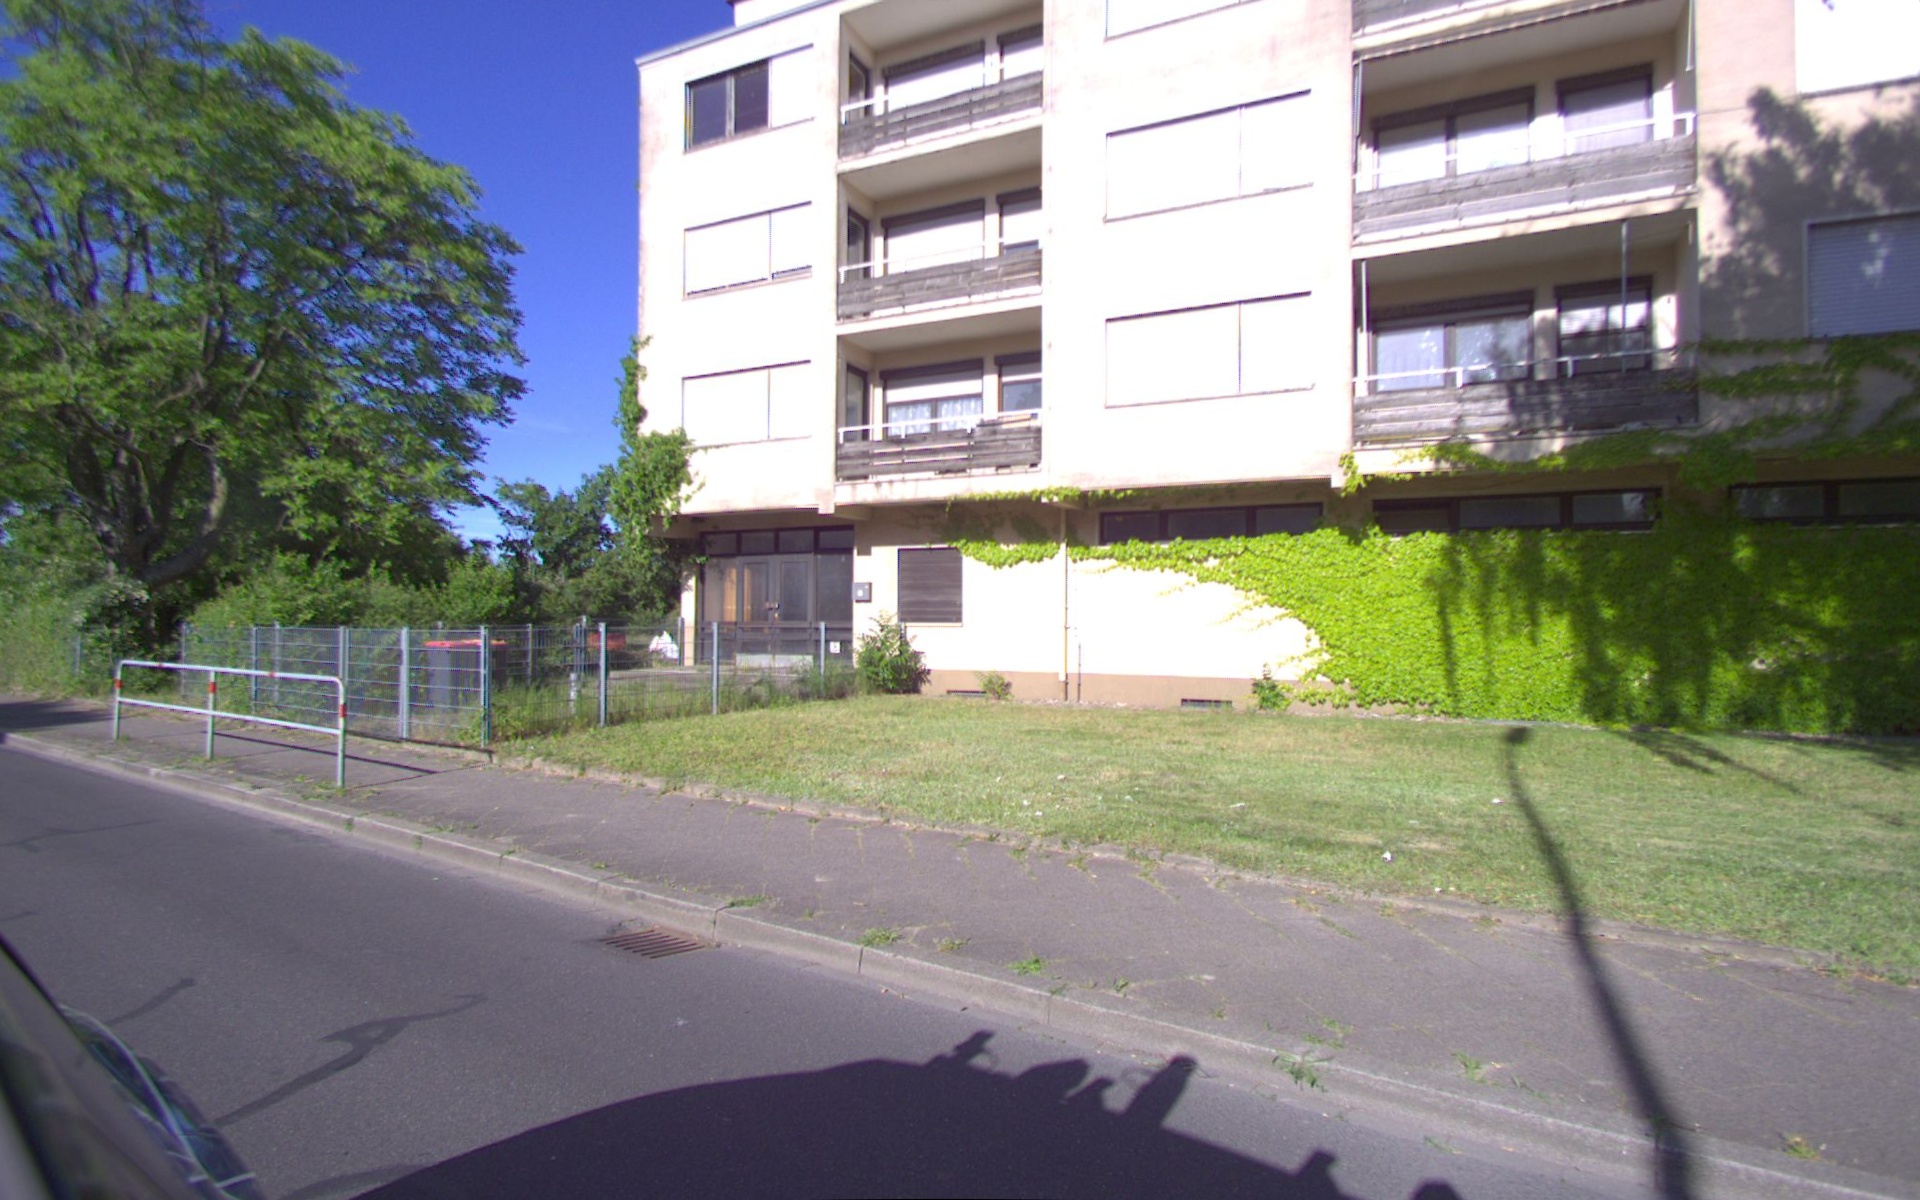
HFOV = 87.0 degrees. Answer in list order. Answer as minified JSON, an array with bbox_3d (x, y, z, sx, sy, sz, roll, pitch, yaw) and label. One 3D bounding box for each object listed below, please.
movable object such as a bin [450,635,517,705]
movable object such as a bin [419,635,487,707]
[{"bbox_3d":[-7.326,1.063,15.566,0.708,1.032,0.617,-1,-2,30],"label":"movable object such as a bin"},{"bbox_3d":[-7.566,1.043,15.112,0.708,1.032,0.617,-1,-2,30],"label":"movable object such as a bin"}]
